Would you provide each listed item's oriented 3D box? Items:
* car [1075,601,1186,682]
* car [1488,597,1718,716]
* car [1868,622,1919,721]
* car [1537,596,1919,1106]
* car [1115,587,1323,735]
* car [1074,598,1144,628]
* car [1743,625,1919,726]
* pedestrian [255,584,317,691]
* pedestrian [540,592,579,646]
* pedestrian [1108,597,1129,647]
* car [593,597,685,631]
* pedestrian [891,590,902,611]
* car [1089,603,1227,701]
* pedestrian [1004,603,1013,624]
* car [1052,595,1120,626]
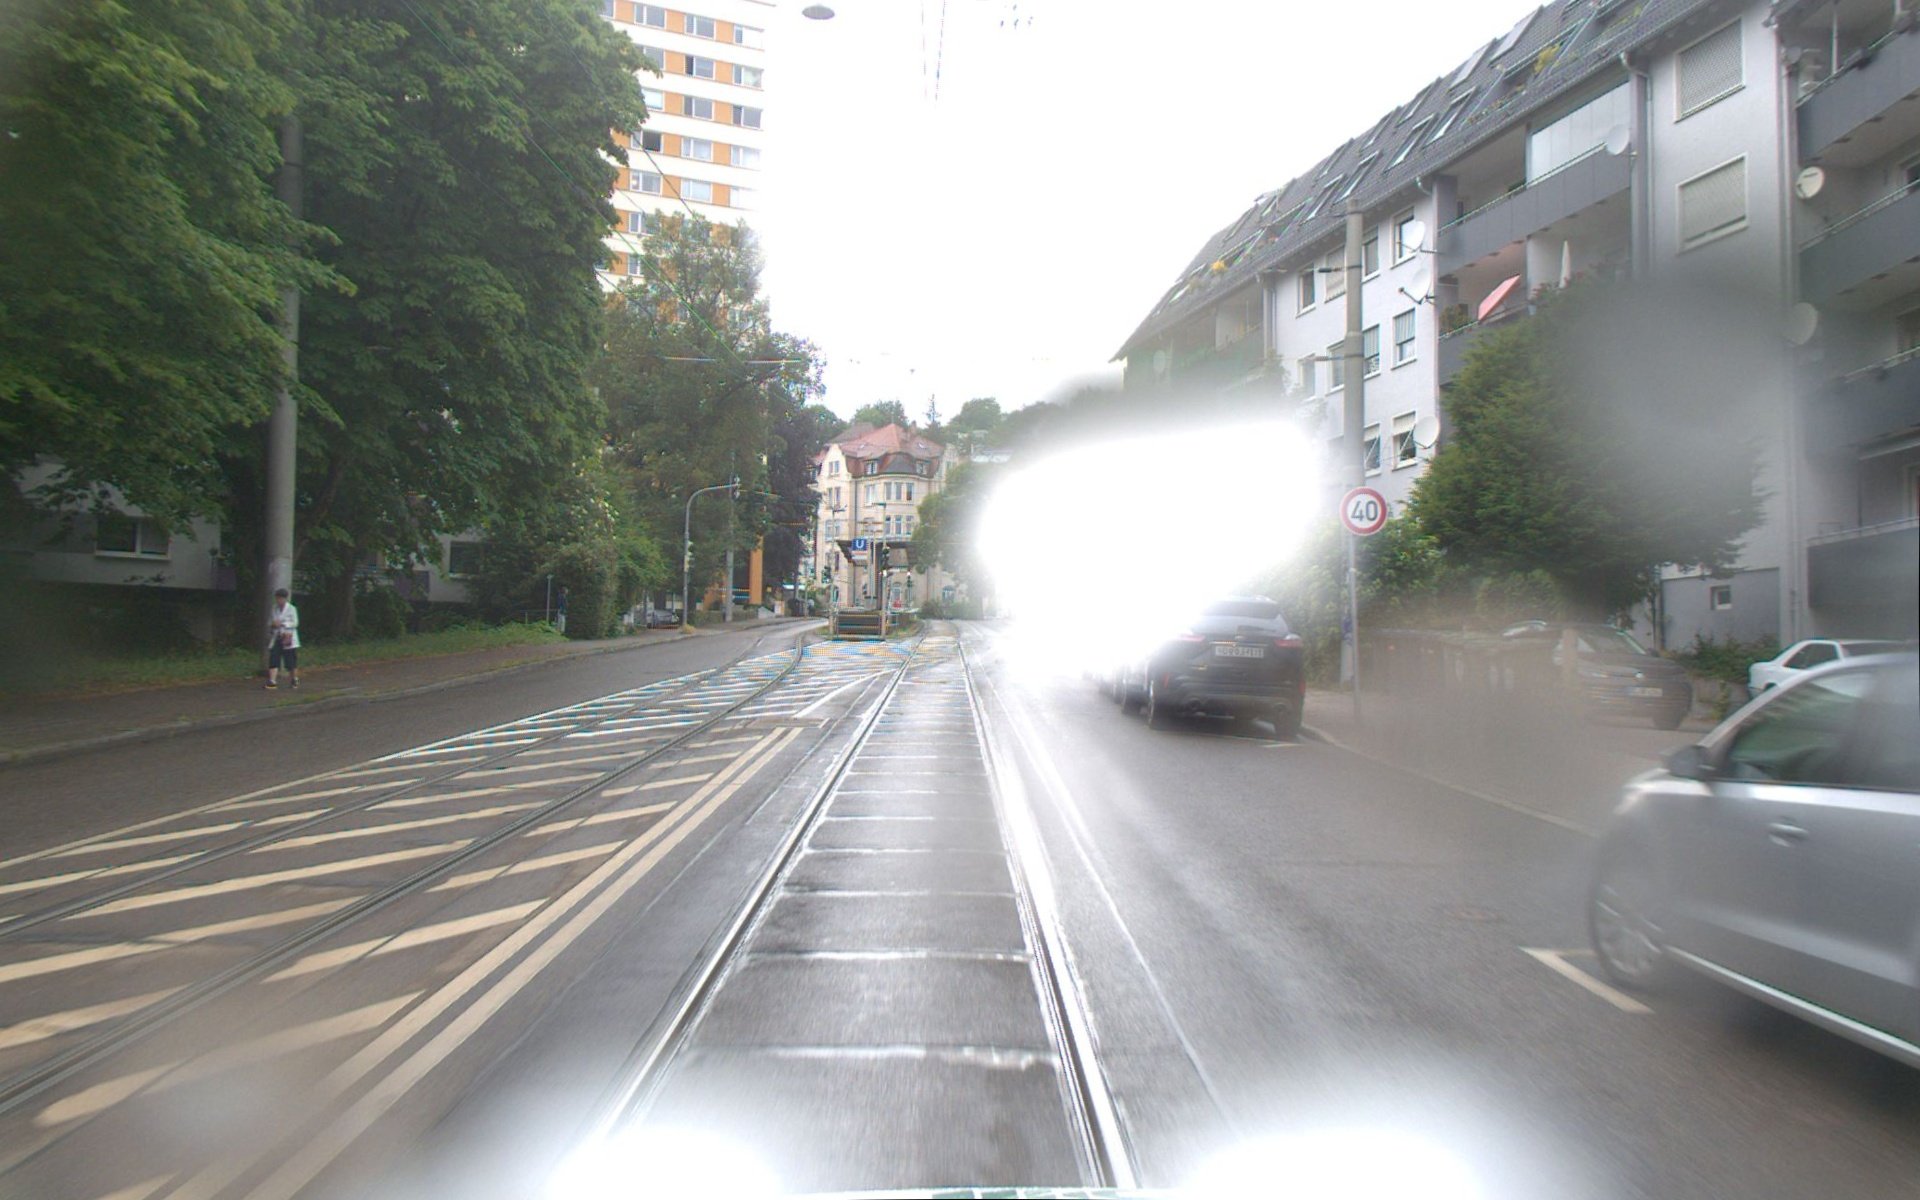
[{"bbox_3d":[3.325,0.791,32.835,1.670,1.451,3.861,2,-1,-1],"label":"car"},{"bbox_3d":[9.312,0.912,24.333,1.685,1.541,4.202,2,-4,-1],"label":"car"},{"bbox_3d":[15.962,1.123,25.430,1.650,1.548,4.203,1,-1,-1],"label":"car"},{"bbox_3d":[3.584,0.760,5.656,1.670,1.458,4.100,2,-1,-1],"label":"car"},{"bbox_3d":[3.287,0.748,21.935,1.868,1.670,4.688,2,-1,-1],"label":"car"},{"bbox_3d":[8.554,0.758,94.926,3.765,1.570,1.806,2,-3,-2],"label":"car"},{"bbox_3d":[13.854,1.096,25.142,1.740,1.403,4.429,1,-1,-1],"label":"car"},{"bbox_3d":[-10.623,0.588,26.087,0.571,1.628,0.868,3,-2,-4],"label":"pedestrian"},{"bbox_3d":[-12.966,0.614,53.541,0.896,1.707,0.741,0,-5,19],"label":"pedestrian"},{"bbox_3d":[5.358,0.754,55.811,0.631,1.657,0.699,1,-2,2],"label":"pedestrian"},{"bbox_3d":[-15.003,0.662,77.300,3.905,1.431,1.682,0,-5,22],"label":"car"},{"bbox_3d":[-4.544,0.034,118.676,0.644,1.492,0.772,1,-4,2],"label":"pedestrian"},{"bbox_3d":[3.248,0.826,27.812,1.670,1.453,4.249,2,-1,-1],"label":"car"},{"bbox_3d":[3.695,1.026,125.013,0.567,1.492,0.543,2,-4,-8],"label":"pedestrian"},{"bbox_3d":[7.497,0.657,98.647,3.906,1.674,1.807,2,-3,-1],"label":"car"}]
